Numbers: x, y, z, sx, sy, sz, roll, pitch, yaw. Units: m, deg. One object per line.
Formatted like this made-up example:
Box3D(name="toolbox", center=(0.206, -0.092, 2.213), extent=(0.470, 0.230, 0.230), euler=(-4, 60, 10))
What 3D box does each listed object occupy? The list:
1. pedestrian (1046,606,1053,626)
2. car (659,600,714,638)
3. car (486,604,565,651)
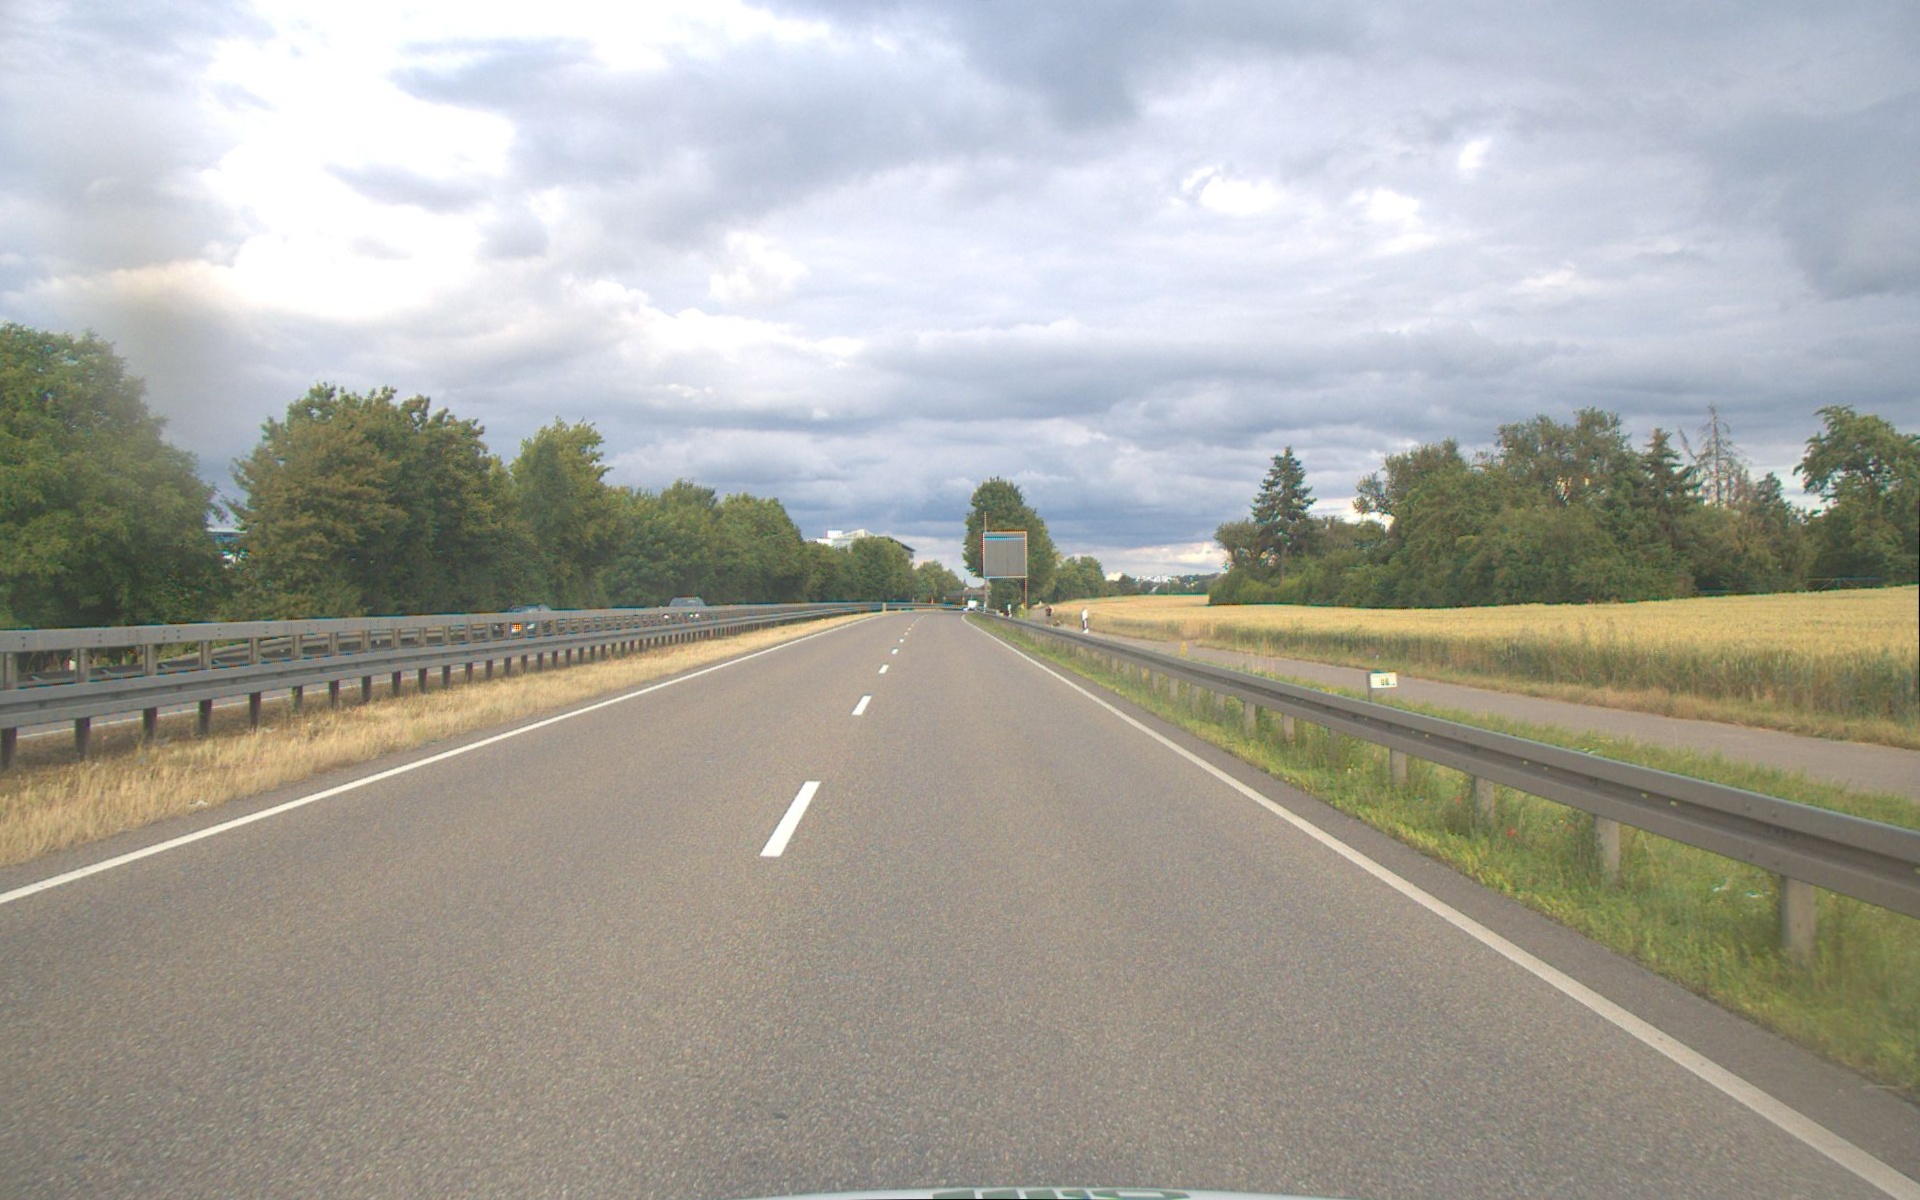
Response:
Box3D(name="pedestrian", center=(7.990, 1.432, 148.010), extent=(0.589, 1.695, 0.542), euler=(1, -1, -3))
Box3D(name="car", center=(-12.674, 0.860, 76.954), extent=(1.761, 1.654, 4.483), euler=(-2, 0, 0))
Box3D(name="car", center=(-16.583, 1.013, 63.340), extent=(1.761, 1.654, 4.483), euler=(-2, 0, 0))
